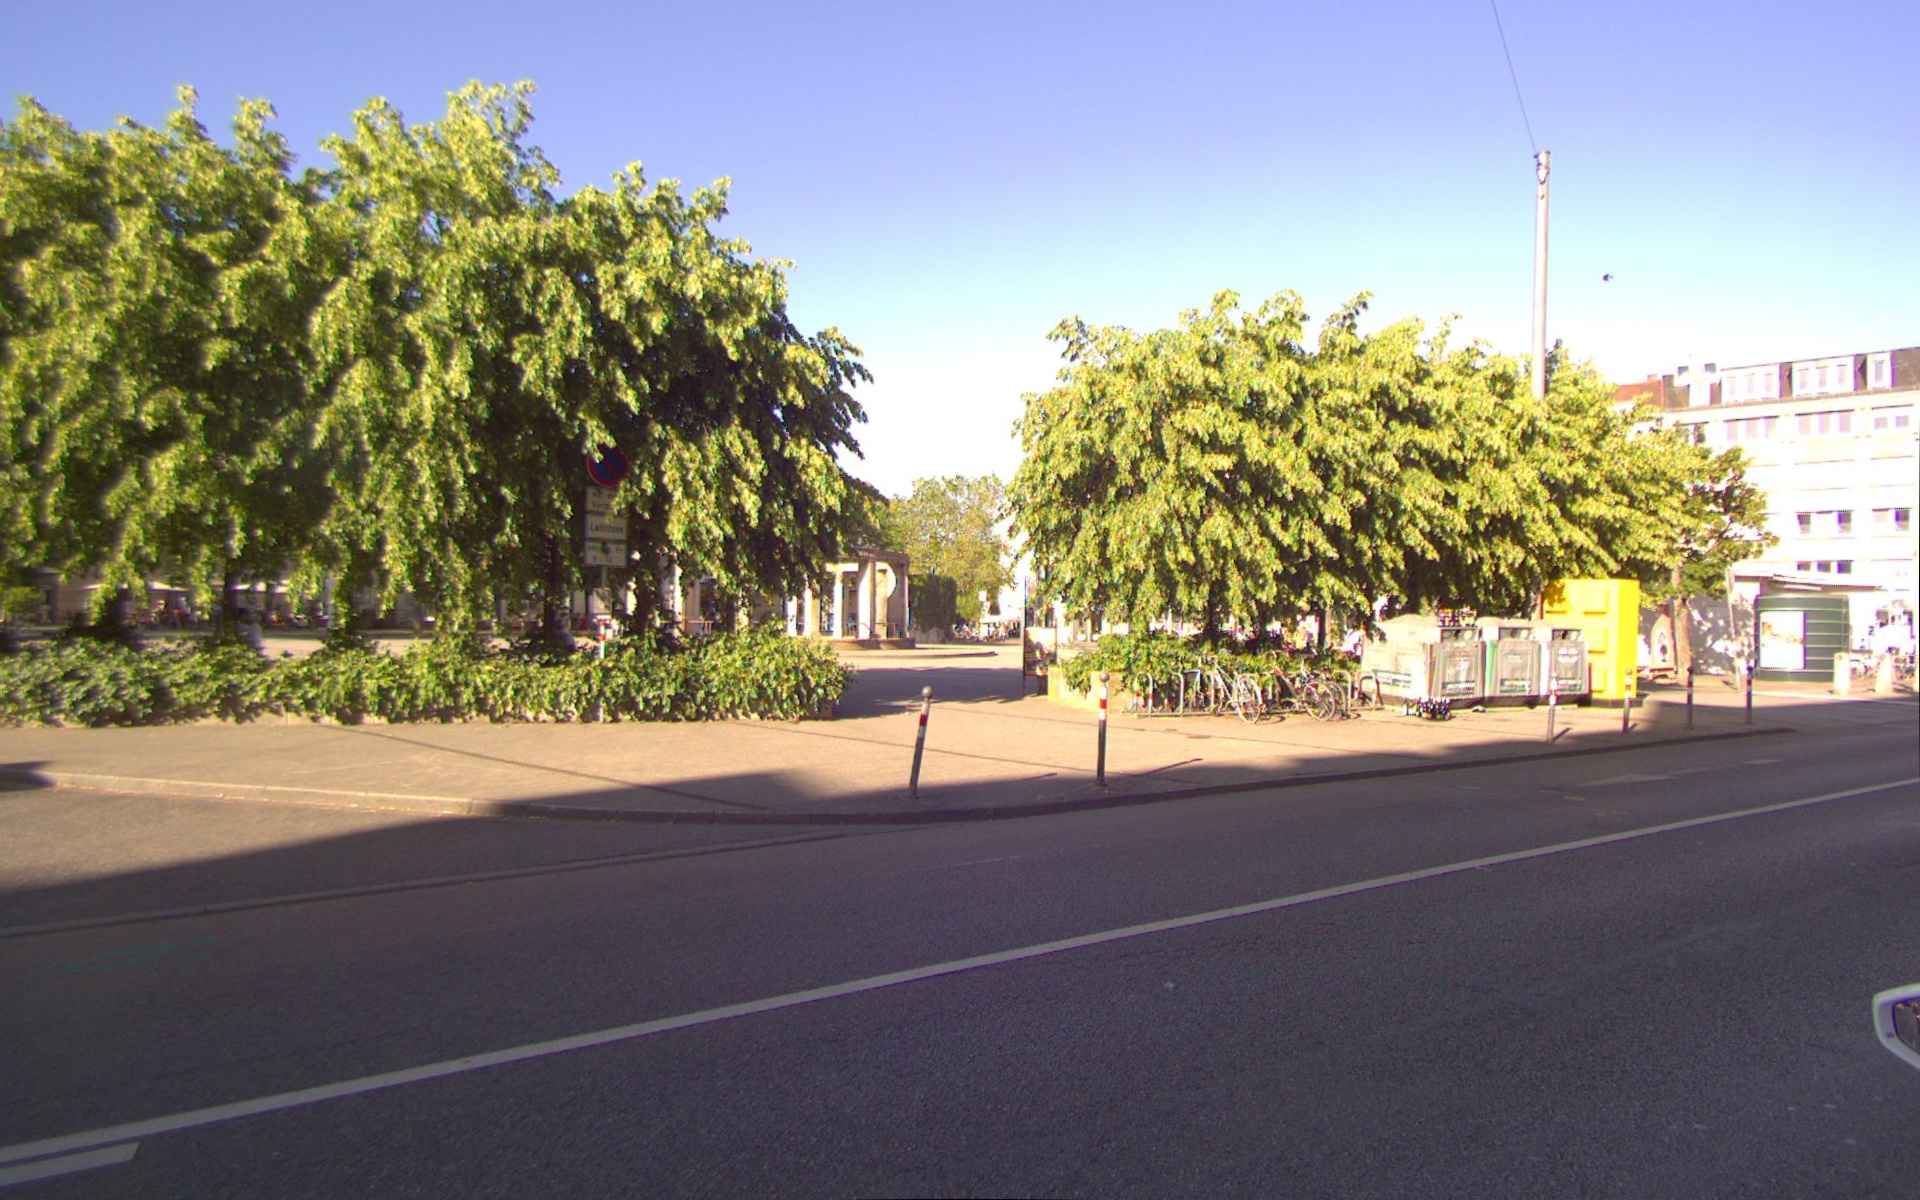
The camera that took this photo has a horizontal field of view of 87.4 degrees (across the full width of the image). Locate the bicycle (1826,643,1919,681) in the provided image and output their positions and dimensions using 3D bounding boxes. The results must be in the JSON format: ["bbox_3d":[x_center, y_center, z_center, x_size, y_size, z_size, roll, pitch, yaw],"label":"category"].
[{"bbox_3d":[31.000,2.066,33.933,0.833,1.171,2.493,1,-1,-31],"label":"bicycle"}]

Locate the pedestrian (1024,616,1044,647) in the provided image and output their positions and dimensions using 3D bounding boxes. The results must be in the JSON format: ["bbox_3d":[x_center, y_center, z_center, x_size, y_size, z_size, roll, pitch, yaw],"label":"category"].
[{"bbox_3d":[4.948,2.090,67.160,0.892,2.040,0.987,1,0,-24],"label":"pedestrian"}]

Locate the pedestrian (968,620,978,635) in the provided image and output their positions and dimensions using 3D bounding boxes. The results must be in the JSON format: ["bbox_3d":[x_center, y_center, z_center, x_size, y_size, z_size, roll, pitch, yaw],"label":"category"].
[{"bbox_3d":[1.760,3.694,136.148,1.230,1.936,1.236,1,-1,-12],"label":"pedestrian"}]

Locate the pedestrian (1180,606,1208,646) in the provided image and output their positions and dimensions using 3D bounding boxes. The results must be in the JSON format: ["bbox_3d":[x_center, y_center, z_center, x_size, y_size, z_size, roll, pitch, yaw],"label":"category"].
[{"bbox_3d":[12.345,1.356,53.024,0.890,2.040,1.280,1,0,-18],"label":"pedestrian"}]

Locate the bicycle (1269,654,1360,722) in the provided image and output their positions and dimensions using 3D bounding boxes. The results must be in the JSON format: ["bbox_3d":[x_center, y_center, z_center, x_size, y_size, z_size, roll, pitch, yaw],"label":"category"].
[{"bbox_3d":[5.772,1.412,16.423,0.425,0.971,1.518,0,0,-28],"label":"bicycle"}]

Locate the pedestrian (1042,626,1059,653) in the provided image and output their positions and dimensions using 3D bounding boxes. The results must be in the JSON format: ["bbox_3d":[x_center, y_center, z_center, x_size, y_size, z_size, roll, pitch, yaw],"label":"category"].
[{"bbox_3d":[7.086,3.058,78.537,0.890,2.040,1.397,1,0,-17],"label":"pedestrian"}]

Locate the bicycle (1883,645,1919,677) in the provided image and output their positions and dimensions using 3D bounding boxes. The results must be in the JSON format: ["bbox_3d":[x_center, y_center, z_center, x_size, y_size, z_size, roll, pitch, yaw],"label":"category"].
[{"bbox_3d":[36.717,2.333,38.013,0.834,1.171,2.517,1,-1,-34],"label":"bicycle"}]

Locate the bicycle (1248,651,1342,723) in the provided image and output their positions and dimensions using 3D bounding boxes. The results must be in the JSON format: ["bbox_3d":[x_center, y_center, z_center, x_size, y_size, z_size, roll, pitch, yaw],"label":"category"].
[{"bbox_3d":[5.351,1.364,16.110,0.425,1.036,1.561,1,-1,-28],"label":"bicycle"}]

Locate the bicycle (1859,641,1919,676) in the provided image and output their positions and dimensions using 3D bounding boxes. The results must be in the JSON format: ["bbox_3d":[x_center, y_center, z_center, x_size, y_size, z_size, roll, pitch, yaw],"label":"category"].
[{"bbox_3d":[33.083,2.043,35.017,0.833,1.171,2.449,1,-1,-31],"label":"bicycle"}]

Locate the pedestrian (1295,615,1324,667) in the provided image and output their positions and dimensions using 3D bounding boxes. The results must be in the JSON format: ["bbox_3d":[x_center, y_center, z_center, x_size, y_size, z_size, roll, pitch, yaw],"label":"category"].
[{"bbox_3d":[14.093,1.653,40.559,0.886,2.040,0.993,1,-1,7],"label":"pedestrian"}]

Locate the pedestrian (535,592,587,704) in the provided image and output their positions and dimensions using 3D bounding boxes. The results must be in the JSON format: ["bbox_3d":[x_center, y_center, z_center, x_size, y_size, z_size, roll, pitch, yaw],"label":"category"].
[{"bbox_3d":[-6.569,0.778,16.558,0.725,1.781,0.895,1,-1,-19],"label":"pedestrian"}]

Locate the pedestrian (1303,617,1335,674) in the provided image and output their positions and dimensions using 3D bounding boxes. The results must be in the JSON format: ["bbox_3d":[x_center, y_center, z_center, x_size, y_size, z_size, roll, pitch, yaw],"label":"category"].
[{"bbox_3d":[13.037,1.637,36.509,0.886,2.040,0.993,1,-1,7],"label":"pedestrian"}]

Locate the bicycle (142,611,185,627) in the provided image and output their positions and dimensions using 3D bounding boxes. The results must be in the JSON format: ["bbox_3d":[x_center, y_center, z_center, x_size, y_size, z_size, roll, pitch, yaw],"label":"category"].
[{"bbox_3d":[-47.059,1.128,59.378,0.579,0.966,1.901,1,-1,33],"label":"bicycle"}]

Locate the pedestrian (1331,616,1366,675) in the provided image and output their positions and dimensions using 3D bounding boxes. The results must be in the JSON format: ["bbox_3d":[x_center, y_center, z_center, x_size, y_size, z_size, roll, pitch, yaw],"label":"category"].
[{"bbox_3d":[13.621,1.580,35.250,0.886,2.040,0.993,1,-1,7],"label":"pedestrian"}]

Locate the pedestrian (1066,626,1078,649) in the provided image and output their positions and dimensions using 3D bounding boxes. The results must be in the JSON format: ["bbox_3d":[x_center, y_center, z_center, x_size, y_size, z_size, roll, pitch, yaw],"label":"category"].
[{"bbox_3d":[9.984,3.334,89.740,0.886,2.040,1.403,1,0,12],"label":"pedestrian"}]

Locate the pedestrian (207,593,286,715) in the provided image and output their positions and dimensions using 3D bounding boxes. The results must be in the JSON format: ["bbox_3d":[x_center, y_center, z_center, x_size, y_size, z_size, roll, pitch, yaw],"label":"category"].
[{"bbox_3d":[-10.786,0.798,15.216,0.725,1.781,0.895,1,-1,-19],"label":"pedestrian"}]

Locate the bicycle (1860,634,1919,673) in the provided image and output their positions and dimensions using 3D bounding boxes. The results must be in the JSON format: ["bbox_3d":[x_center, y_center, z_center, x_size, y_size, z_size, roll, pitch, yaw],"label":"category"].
[{"bbox_3d":[34.443,1.949,36.506,0.913,1.341,2.461,1,-1,-35],"label":"bicycle"}]

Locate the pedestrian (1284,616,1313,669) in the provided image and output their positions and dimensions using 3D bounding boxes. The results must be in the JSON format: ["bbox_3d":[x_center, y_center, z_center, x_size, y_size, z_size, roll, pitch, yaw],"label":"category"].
[{"bbox_3d":[13.411,1.666,39.852,0.886,2.040,0.993,1,-1,7],"label":"pedestrian"}]

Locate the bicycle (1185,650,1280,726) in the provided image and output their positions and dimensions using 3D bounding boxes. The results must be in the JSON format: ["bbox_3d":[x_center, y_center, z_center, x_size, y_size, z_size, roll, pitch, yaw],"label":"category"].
[{"bbox_3d":[4.182,1.331,15.526,0.425,1.031,1.590,1,0,-28],"label":"bicycle"}]

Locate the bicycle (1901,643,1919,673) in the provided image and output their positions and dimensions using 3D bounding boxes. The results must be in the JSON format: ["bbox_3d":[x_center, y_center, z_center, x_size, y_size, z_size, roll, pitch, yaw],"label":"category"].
[{"bbox_3d":[38.641,2.321,39.492,0.834,1.171,2.308,1,-1,-34],"label":"bicycle"}]

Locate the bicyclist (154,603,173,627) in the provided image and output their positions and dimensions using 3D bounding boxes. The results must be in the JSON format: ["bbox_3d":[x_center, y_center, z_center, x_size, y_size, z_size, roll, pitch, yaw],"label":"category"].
[{"bbox_3d":[-47.038,0.887,59.329,0.662,1.447,0.696,1,-1,35],"label":"bicyclist"}]

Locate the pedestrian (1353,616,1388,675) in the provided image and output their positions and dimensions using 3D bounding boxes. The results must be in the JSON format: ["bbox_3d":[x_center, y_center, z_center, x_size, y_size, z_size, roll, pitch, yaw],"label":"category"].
[{"bbox_3d":[14.473,1.600,35.423,0.886,2.040,0.993,1,-1,7],"label":"pedestrian"}]
